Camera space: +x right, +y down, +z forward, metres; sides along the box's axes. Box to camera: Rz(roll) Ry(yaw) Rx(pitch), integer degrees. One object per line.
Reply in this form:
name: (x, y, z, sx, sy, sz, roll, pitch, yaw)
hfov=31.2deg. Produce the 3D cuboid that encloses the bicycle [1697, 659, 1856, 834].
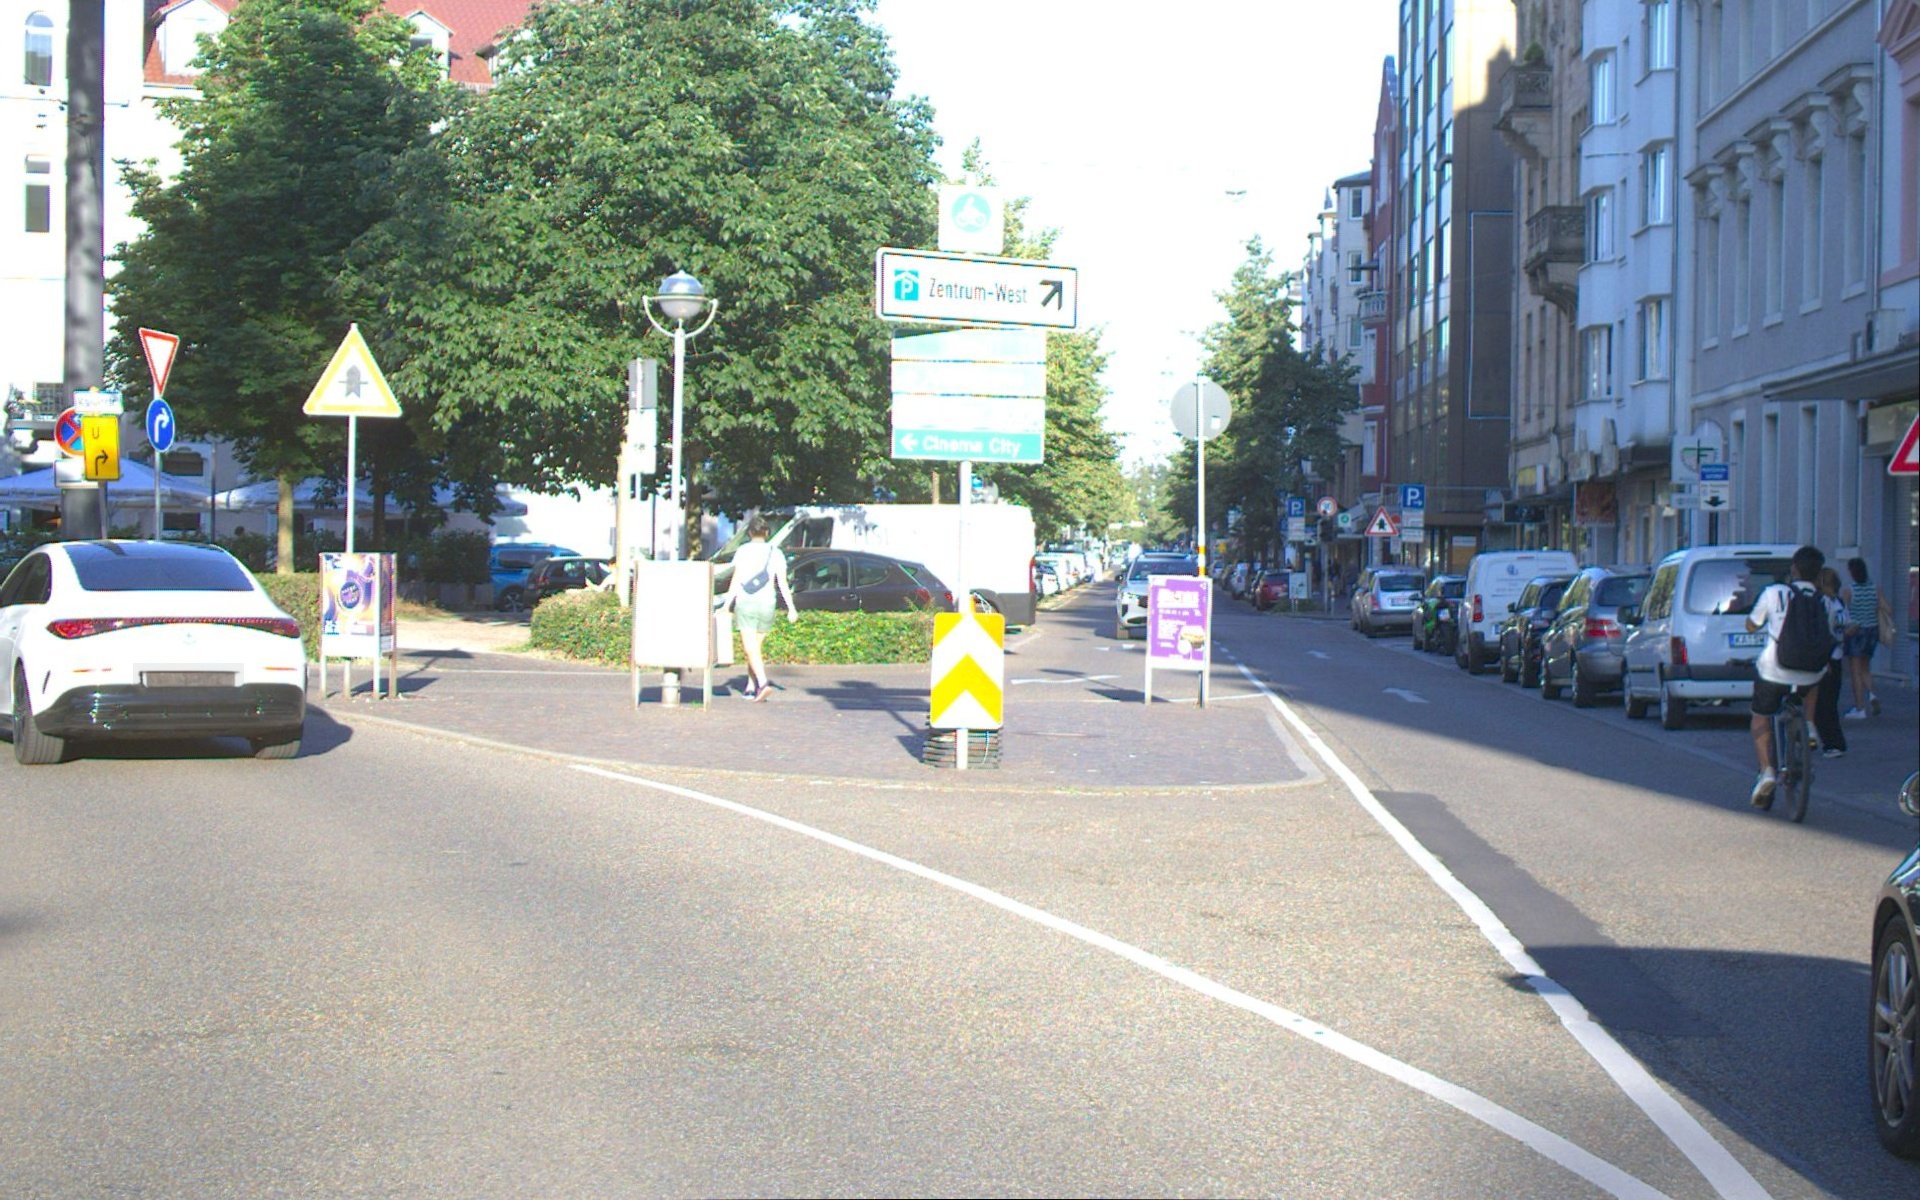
bicycle: (5.117, 0.897, 21.638, 0.579, 0.984, 1.935, 2, 0, 3)

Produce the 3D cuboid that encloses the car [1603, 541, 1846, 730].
car: (7.629, 0.323, 34.613, 1.735, 1.794, 3.916, 0, 0, 3)

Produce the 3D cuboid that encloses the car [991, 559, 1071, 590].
car: (3.290, -1.196, 159.203, 3.377, 1.283, 1.673, 2, 1, -12)

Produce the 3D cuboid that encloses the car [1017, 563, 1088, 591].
car: (4.883, -1.219, 181.322, 3.377, 1.283, 1.673, 2, 1, -12)

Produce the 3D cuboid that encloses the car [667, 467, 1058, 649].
car: (-1.492, -0.619, 52.659, 5.510, 2.586, 2.155, 1, 0, -23)

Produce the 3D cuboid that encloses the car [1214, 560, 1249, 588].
car: (14.919, -1.416, 189.131, 1.752, 1.505, 3.545, 0, 0, 2)

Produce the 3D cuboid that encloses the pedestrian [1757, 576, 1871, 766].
pedestrian: (7.115, 0.584, 28.668, 0.630, 1.549, 0.738, 2, 0, -11)

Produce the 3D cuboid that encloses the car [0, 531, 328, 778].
car: (-5.740, 0.293, 23.592, 1.864, 1.436, 4.198, -2, 2, -23)

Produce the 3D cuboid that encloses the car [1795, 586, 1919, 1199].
car: (3.096, 0.739, 7.346, 1.748, 1.456, 4.103, 2, 1, 3)

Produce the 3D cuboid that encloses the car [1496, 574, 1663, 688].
car: (8.255, 0.389, 46.063, 1.735, 1.457, 3.585, 0, 0, 3)

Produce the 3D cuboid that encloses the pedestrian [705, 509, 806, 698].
pedestrian: (-1.898, 0.029, 31.949, 0.859, 1.700, 0.941, 2, 0, -3)

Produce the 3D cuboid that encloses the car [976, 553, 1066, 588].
car: (2.535, -1.215, 142.700, 3.377, 1.283, 1.673, 2, 1, -12)

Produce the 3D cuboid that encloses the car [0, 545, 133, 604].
car: (-21.876, -0.626, 81.939, 3.986, 1.297, 1.853, 1, 0, -20)

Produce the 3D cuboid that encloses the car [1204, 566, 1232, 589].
car: (17.339, -1.522, 231.185, 1.752, 1.505, 3.545, 0, 0, 2)

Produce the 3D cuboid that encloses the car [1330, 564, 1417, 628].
car: (9.914, -0.101, 82.666, 1.752, 1.505, 3.545, 0, 0, 2)

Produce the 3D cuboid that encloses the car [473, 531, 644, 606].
car: (-10.270, -0.811, 87.836, 3.986, 1.776, 1.853, 1, 0, -20)

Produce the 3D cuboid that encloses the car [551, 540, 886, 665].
car: (-3.197, 0.034, 45.683, 3.986, 1.547, 1.879, 1, 0, -30)

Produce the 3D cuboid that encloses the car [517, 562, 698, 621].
car: (-8.508, -0.203, 82.988, 3.986, 1.297, 1.853, 1, 0, -20)

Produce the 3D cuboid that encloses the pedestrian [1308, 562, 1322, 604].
pedestrian: (16.489, -0.800, 159.809, 0.531, 1.917, 0.542, 2, 0, 1)

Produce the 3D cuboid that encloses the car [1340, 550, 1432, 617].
car: (9.726, -0.381, 78.736, 1.752, 1.505, 3.545, 0, 0, 2)

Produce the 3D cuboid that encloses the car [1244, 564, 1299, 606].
car: (11.378, -0.557, 125.693, 1.752, 1.505, 3.545, 0, 0, 2)

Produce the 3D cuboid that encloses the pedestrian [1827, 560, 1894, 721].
pedestrian: (9.211, 0.410, 35.163, 0.502, 1.619, 0.496, 2, 1, 3)

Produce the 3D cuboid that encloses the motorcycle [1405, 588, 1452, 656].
motorcycle: (8.405, 0.388, 61.702, 0.486, 1.170, 1.607, -1, 1, -4)

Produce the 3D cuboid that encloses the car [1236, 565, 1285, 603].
car: (11.934, -0.642, 136.730, 1.752, 1.505, 3.545, 0, 0, 2)

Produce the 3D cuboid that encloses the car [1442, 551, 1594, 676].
car: (8.487, 0.180, 52.562, 1.925, 1.835, 4.017, 0, 0, 4)

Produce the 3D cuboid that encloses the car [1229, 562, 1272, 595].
car: (13.348, -0.986, 158.252, 1.752, 1.505, 3.545, 0, 0, 2)

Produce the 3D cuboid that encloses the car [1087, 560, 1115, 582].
car: (9.062, -1.876, 220.677, 1.667, 1.283, 3.389, 2, 1, 4)

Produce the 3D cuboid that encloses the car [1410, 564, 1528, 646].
car: (9.623, 0.083, 65.273, 1.752, 1.505, 3.975, 0, 0, 2)

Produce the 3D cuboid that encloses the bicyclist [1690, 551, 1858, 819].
bicyclist: (5.108, 0.517, 21.629, 0.777, 1.613, 1.025, 2, 0, 2)

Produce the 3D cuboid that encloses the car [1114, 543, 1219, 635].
car: (4.212, -0.253, 70.598, 1.994, 1.766, 4.000, 2, 1, 2)

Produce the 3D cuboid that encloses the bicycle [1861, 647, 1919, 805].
bicycle: (7.072, 0.852, 23.130, 1.850, 1.042, 0.580, 0, 1, 33)

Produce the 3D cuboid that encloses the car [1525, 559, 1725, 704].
car: (7.699, 0.336, 40.120, 1.735, 1.611, 3.916, 0, 0, 3)

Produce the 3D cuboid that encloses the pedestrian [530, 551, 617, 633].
pedestrian: (-5.994, -0.125, 53.263, 1.097, 1.222, 0.860, 2, 0, -23)

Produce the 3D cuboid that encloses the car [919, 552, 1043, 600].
car: (0.619, -0.725, 102.600, 3.377, 1.283, 1.673, 2, 1, -12)
